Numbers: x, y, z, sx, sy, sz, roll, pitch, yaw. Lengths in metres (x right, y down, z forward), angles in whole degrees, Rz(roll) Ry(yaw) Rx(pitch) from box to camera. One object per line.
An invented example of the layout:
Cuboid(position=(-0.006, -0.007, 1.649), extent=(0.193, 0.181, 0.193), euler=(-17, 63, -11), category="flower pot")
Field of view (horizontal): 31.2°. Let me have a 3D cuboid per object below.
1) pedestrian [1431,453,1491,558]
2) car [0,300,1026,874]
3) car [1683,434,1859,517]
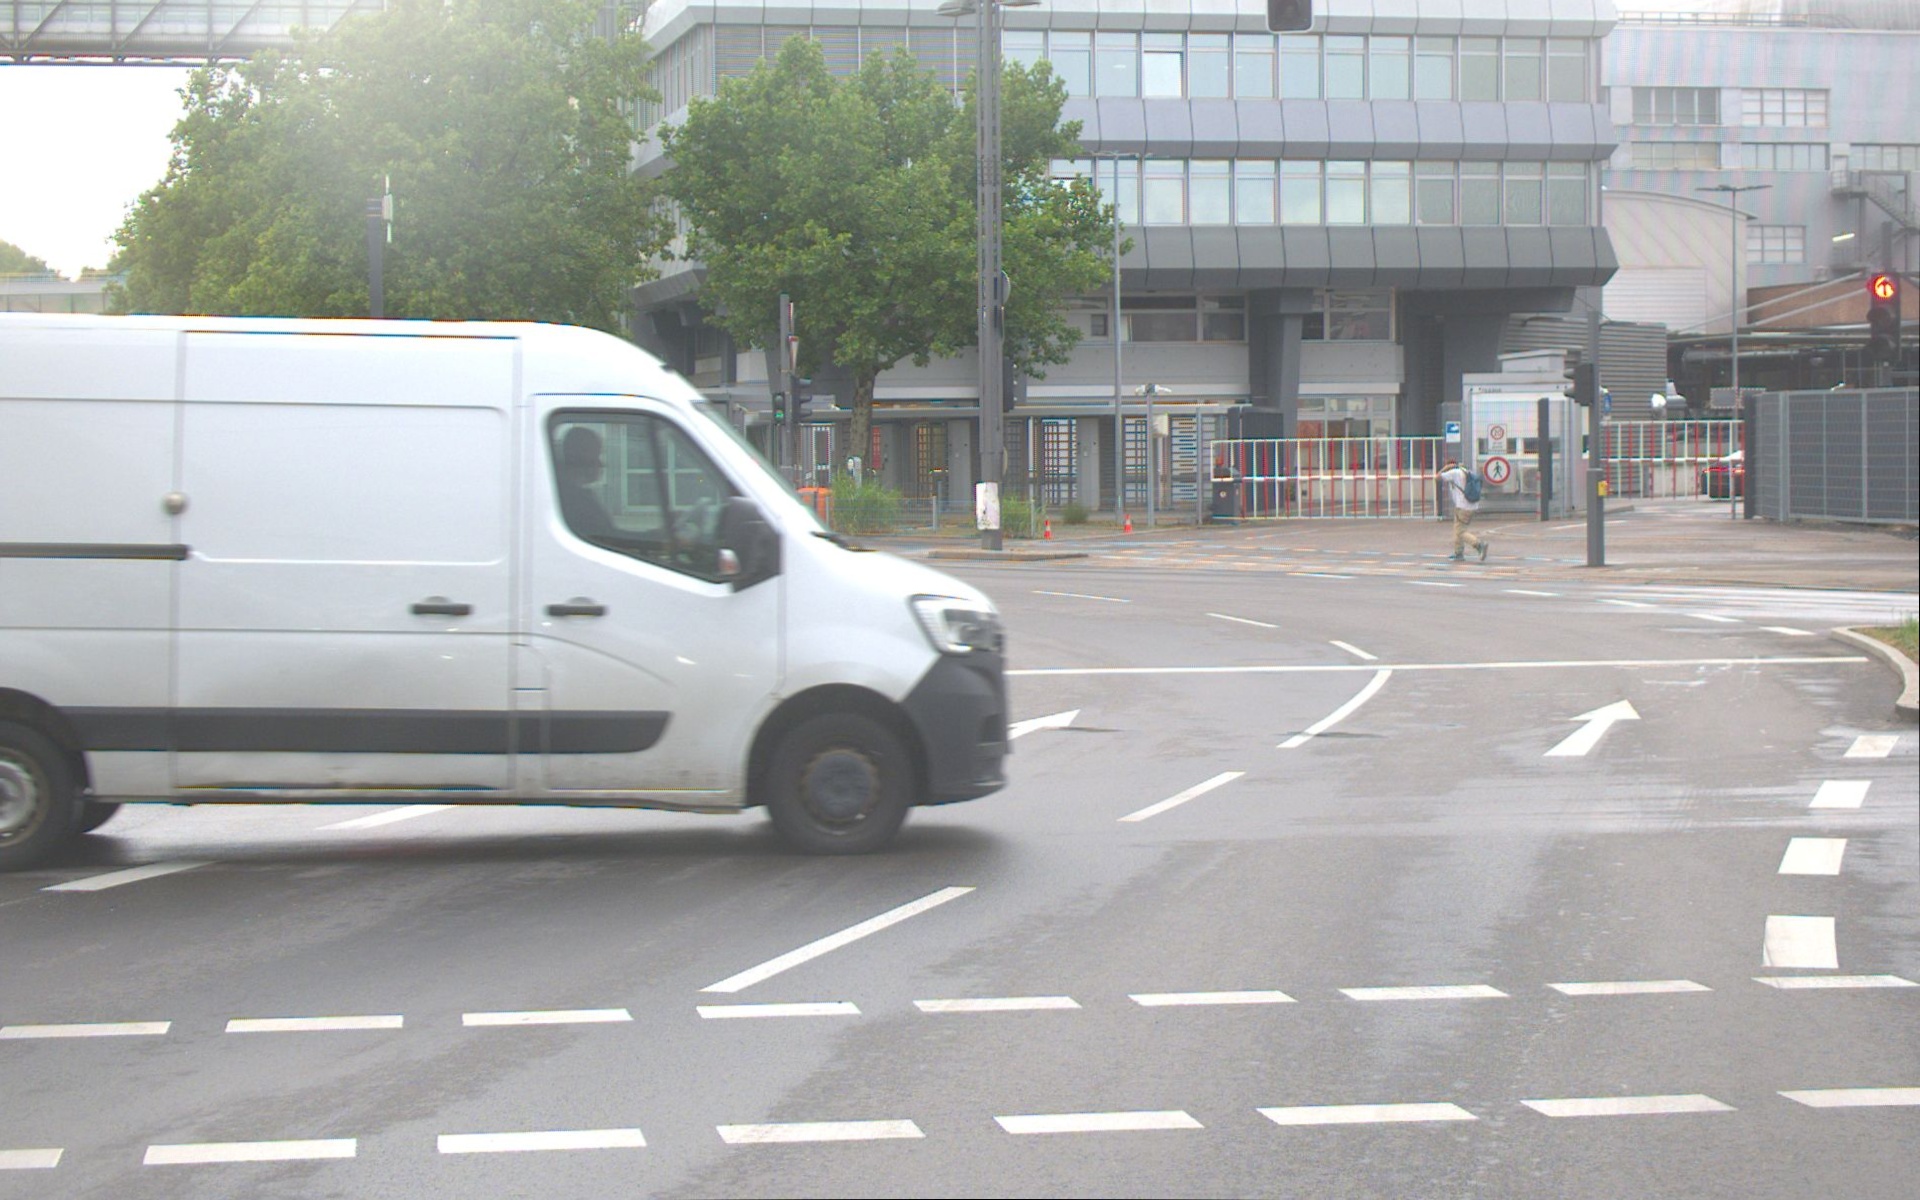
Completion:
Cuboid(position=(7.785, -1.466, 53.407), extent=(0.808, 1.605, 0.769), euler=(-1, 0, 17), category="pedestrian")
Cuboid(position=(-2.517, -0.095, 15.952), extent=(5.407, 2.438, 2.001), euler=(-1, 2, -6), category="car")
Cuboid(position=(19.924, -3.056, 84.338), extent=(1.999, 1.962, 4.882), euler=(1, 2, 44), category="car")
